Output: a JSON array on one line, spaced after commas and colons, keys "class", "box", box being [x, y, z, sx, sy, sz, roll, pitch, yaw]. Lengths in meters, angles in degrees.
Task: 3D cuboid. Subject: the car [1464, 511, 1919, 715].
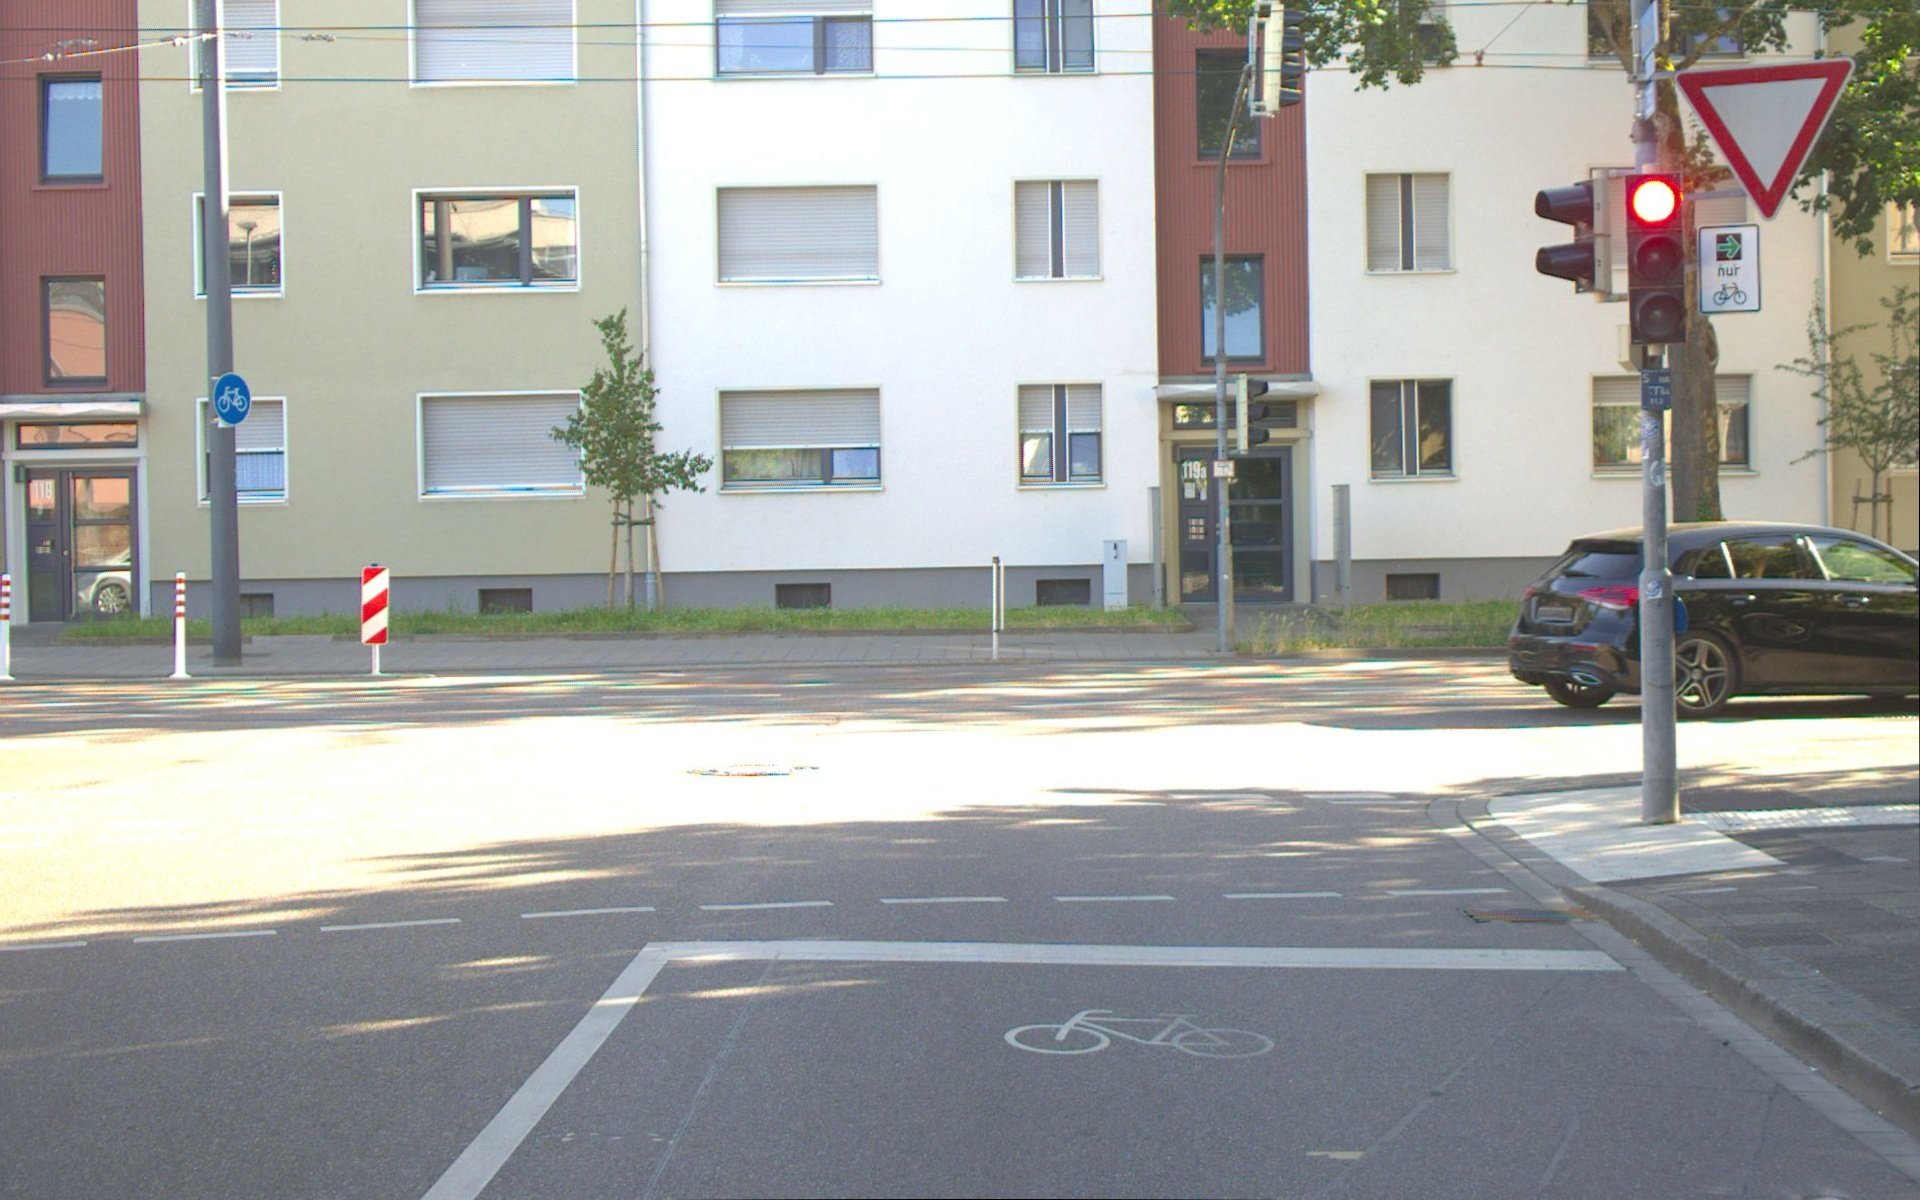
[{"class": "car", "box": [6.085, 0.052, 25.703, 4.191, 1.416, 1.854, 0, 2, -19]}]
